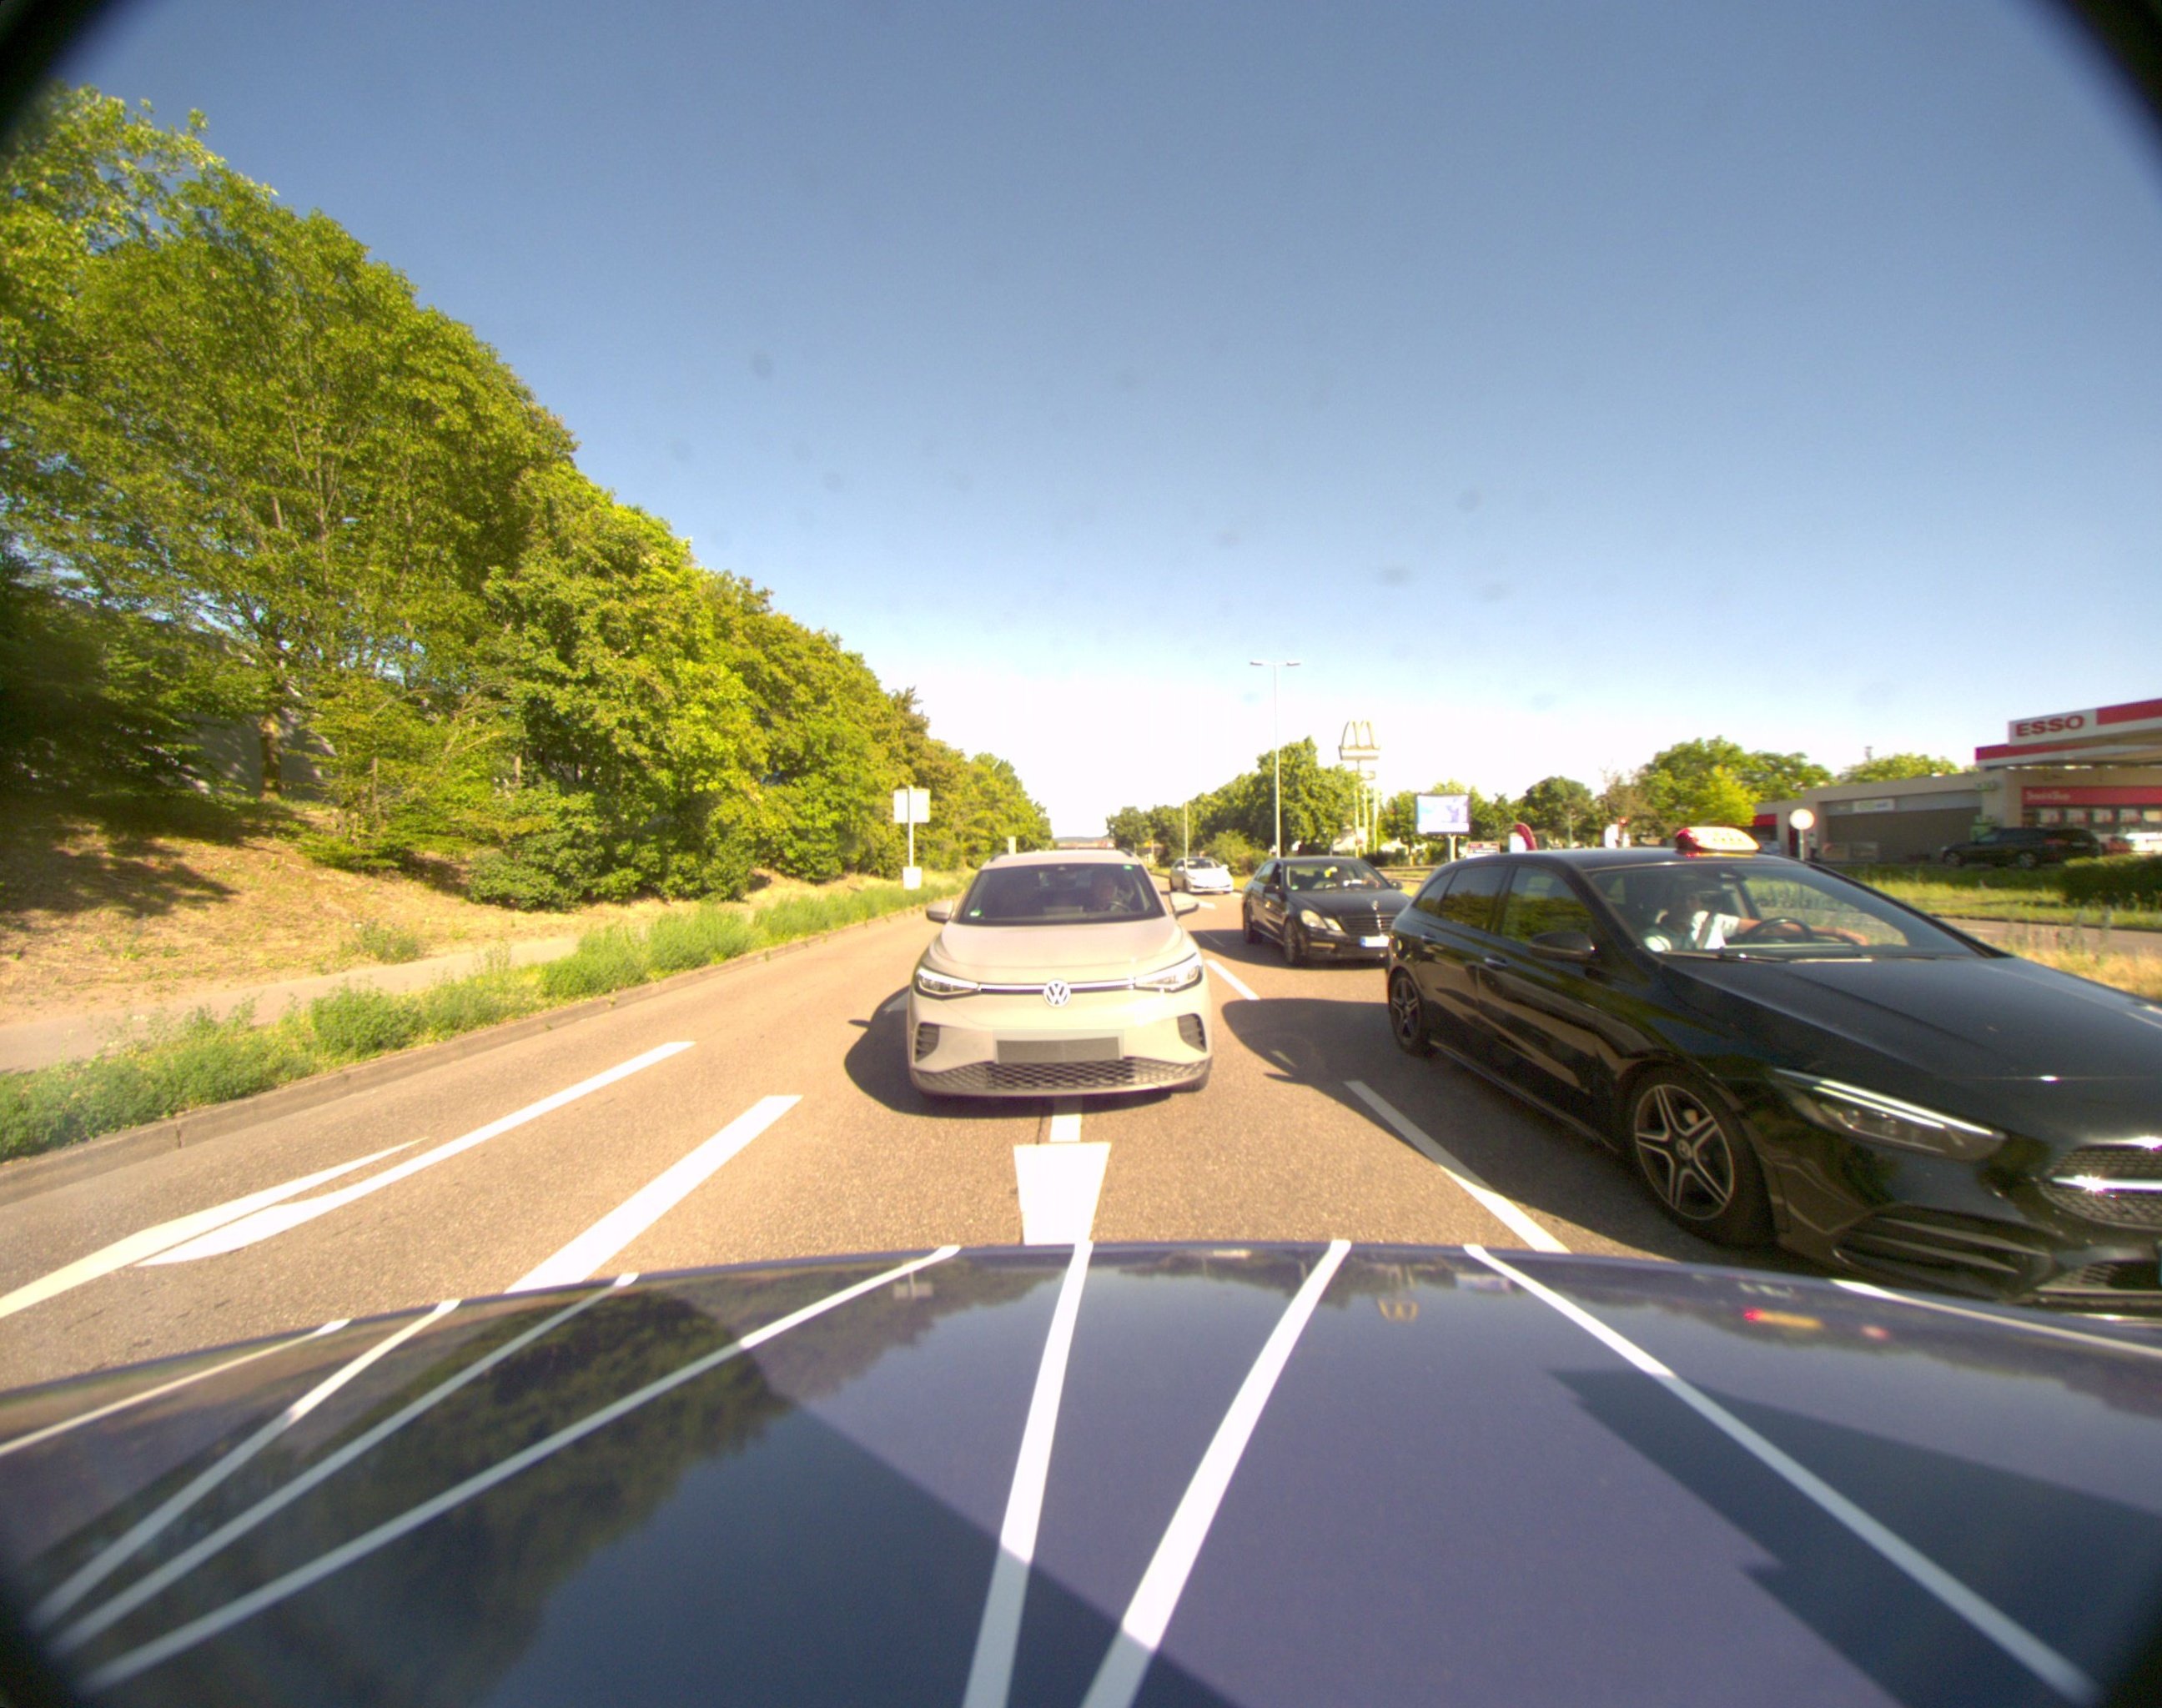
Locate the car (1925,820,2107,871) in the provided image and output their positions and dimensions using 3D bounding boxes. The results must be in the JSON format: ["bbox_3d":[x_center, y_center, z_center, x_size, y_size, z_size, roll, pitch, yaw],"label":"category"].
[{"bbox_3d":[36.370,-0.329,29.773,1.807,1.716,4.322,-4,0,2],"label":"car"}]

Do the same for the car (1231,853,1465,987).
[{"bbox_3d":[3.666,0.803,11.415,1.953,1.501,4.462,-2,1,1],"label":"car"}]

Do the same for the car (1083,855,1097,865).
[{"bbox_3d":[1.344,0.931,114.368,1.998,1.433,4.000,-1,0,0],"label":"car"}]

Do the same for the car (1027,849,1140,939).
[{"bbox_3d":[0.075,0.740,16.091,2.036,1.601,4.098,-2,0,1],"label":"car"}]

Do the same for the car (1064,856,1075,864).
[{"bbox_3d":[-2.227,1.180,146.206,1.998,1.433,4.000,-1,0,0],"label":"car"}]

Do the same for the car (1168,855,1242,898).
[{"bbox_3d":[4.817,0.834,30.014,1.999,1.434,3.998,-2,1,-3],"label":"car"}]

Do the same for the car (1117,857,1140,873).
[{"bbox_3d":[4.452,1.013,71.577,1.998,1.433,4.001,-1,0,2],"label":"car"}]

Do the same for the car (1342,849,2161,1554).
[{"bbox_3d":[3.093,0.801,4.048,1.788,1.592,4.583,-2,0,0],"label":"car"}]

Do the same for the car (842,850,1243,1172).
[{"bbox_3d":[-0.174,0.822,5.998,2.025,1.601,4.098,-2,0,1],"label":"car"}]
